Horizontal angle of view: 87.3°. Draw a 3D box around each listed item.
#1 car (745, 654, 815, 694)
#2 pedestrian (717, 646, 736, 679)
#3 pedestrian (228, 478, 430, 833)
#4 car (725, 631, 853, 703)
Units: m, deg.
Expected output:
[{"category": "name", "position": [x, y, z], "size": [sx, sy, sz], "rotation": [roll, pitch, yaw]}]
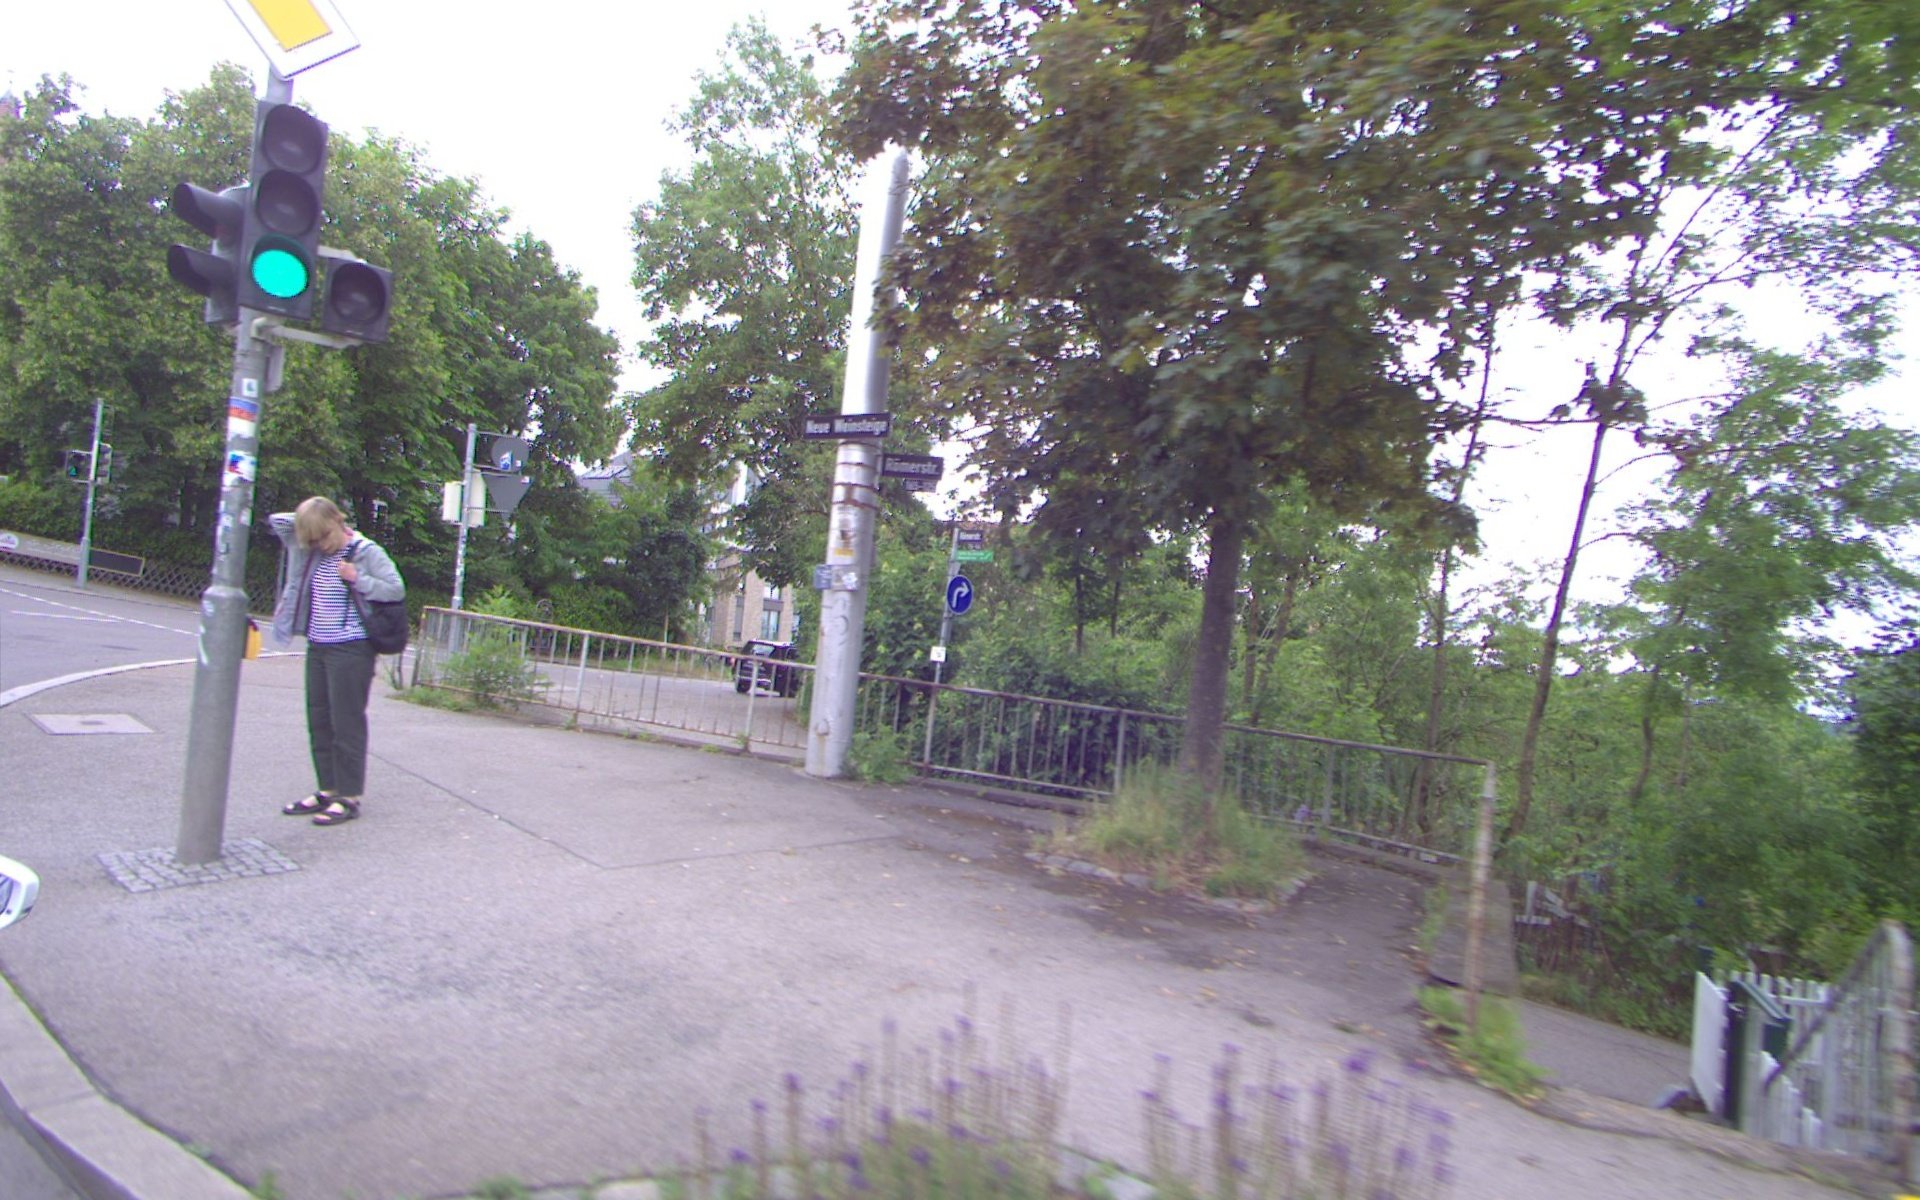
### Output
[{"category": "car", "position": [-9.510, 3.905, 53.142], "size": [3.414, 1.533, 1.434], "rotation": [7, -4, 34]}, {"category": "pedestrian", "position": [-11.549, 3.112, 49.796], "size": [0.504, 1.533, 0.523], "rotation": [8, -3, 12]}, {"category": "pedestrian", "position": [-3.307, 0.283, 5.269], "size": [0.690, 1.709, 0.613], "rotation": [6, 0, -39]}, {"category": "car", "position": [-5.155, 2.120, 30.944], "size": [1.715, 1.635, 4.276], "rotation": [8, -5, 22]}]
